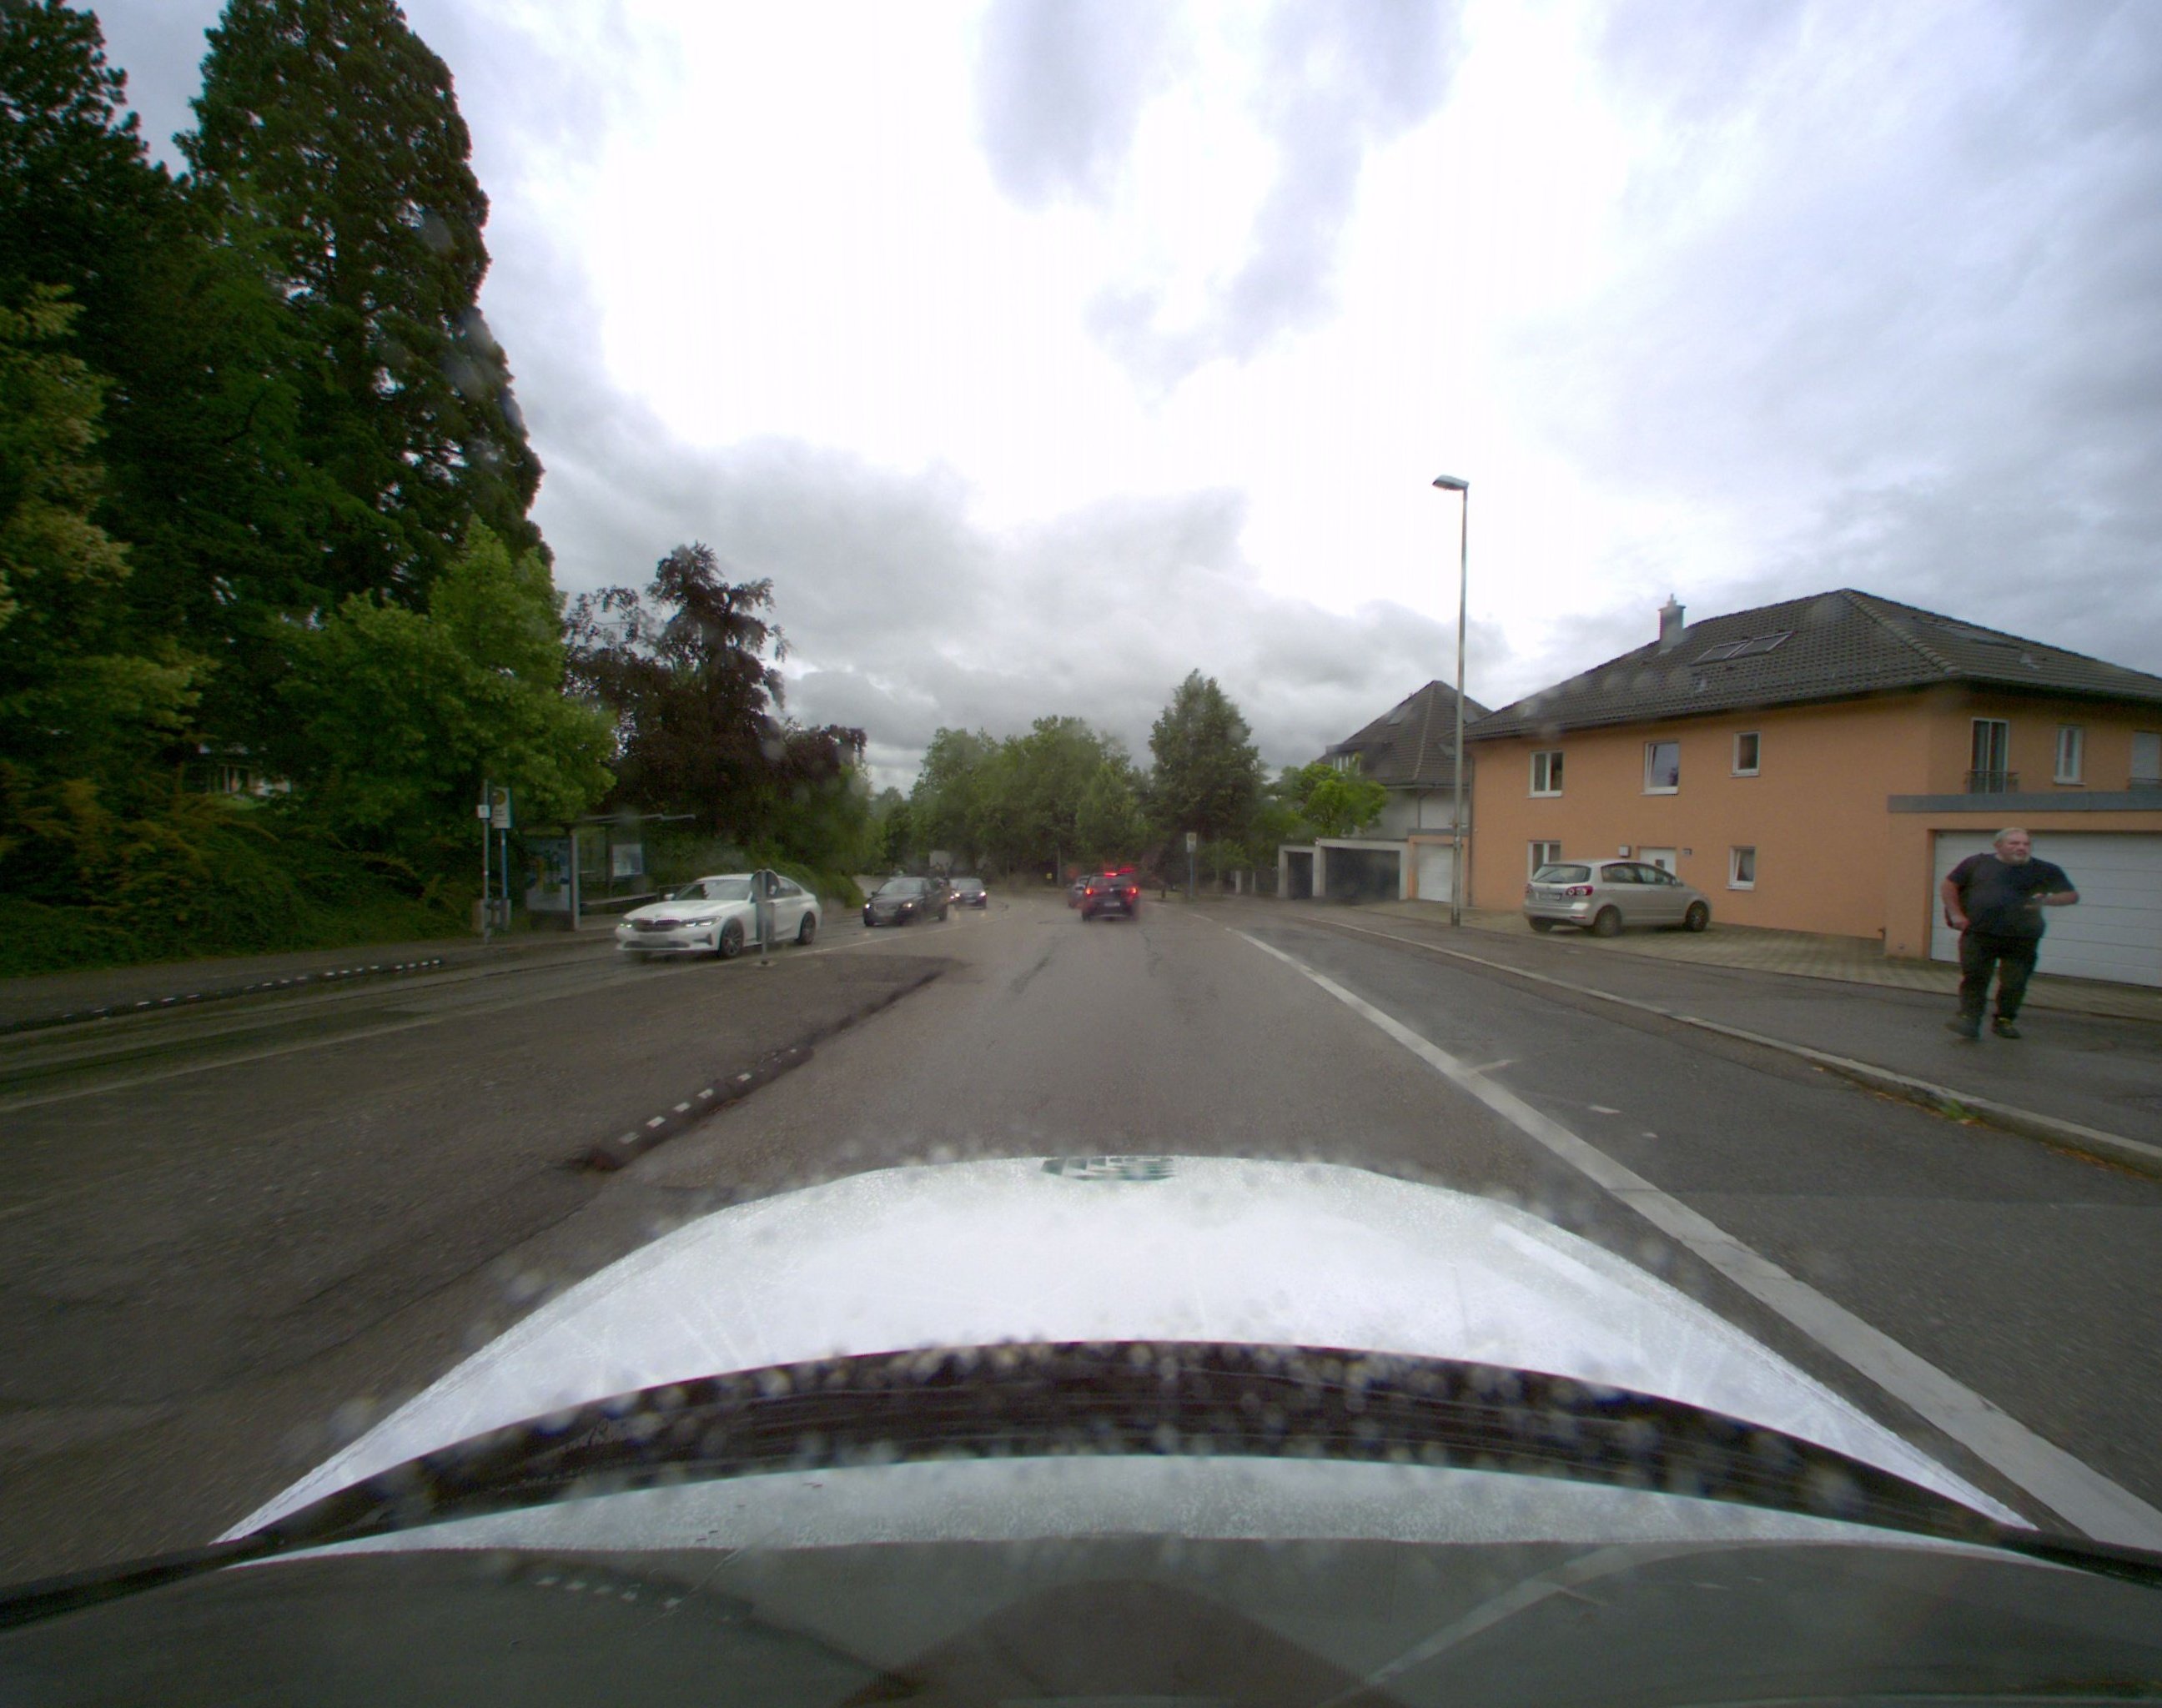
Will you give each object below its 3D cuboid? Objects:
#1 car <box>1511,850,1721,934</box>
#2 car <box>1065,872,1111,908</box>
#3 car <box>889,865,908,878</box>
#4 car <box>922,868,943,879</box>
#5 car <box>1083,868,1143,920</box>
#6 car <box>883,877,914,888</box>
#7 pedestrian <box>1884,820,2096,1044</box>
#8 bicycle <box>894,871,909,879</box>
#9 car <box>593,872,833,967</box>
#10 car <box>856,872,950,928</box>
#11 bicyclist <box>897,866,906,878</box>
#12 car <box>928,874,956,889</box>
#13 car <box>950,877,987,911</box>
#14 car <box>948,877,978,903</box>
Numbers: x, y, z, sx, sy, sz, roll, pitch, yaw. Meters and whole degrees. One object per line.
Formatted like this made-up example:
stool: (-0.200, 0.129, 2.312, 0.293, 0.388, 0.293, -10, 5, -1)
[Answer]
car: (11.431, 0.761, 17.434, 3.868, 1.566, 1.716, -1, 0, -18)
car: (0.267, 1.619, 37.549, 1.751, 1.464, 3.993, -1, 0, -5)
car: (-28.276, 2.742, 126.100, 1.942, 1.689, 4.902, 1, 2, -1)
car: (-22.957, 2.999, 125.852, 1.741, 1.469, 4.577, 1, 3, 8)
car: (0.943, 1.211, 25.782, 1.716, 1.464, 3.999, -2, -2, 0)
car: (-25.560, 3.982, 114.228, 4.133, 1.384, 1.718, -1, -2, -15)
pedestrian: (7.437, 0.571, 6.678, 1.101, 1.655, 0.919, -1, 0, -29)
bicycle: (-26.304, 3.115, 119.423, 2.035, 1.155, 0.850, -1, -1, -15)
car: (-6.514, 1.083, 15.167, 1.819, 1.402, 4.829, -2, -1, 7)
car: (-5.385, 1.356, 25.212, 1.784, 1.446, 4.404, -2, 0, 1)
bicyclist: (-26.326, 2.627, 119.433, 1.284, 1.755, 0.850, -1, -1, -15)
car: (-14.175, 2.785, 82.967, 1.731, 1.464, 3.965, 3, -2, -27)
car: (-5.688, 1.997, 41.579, 1.720, 1.464, 4.366, -1, 0, -7)
car: (-7.807, 2.371, 54.301, 1.808, 1.577, 4.674, -1, -2, -7)
